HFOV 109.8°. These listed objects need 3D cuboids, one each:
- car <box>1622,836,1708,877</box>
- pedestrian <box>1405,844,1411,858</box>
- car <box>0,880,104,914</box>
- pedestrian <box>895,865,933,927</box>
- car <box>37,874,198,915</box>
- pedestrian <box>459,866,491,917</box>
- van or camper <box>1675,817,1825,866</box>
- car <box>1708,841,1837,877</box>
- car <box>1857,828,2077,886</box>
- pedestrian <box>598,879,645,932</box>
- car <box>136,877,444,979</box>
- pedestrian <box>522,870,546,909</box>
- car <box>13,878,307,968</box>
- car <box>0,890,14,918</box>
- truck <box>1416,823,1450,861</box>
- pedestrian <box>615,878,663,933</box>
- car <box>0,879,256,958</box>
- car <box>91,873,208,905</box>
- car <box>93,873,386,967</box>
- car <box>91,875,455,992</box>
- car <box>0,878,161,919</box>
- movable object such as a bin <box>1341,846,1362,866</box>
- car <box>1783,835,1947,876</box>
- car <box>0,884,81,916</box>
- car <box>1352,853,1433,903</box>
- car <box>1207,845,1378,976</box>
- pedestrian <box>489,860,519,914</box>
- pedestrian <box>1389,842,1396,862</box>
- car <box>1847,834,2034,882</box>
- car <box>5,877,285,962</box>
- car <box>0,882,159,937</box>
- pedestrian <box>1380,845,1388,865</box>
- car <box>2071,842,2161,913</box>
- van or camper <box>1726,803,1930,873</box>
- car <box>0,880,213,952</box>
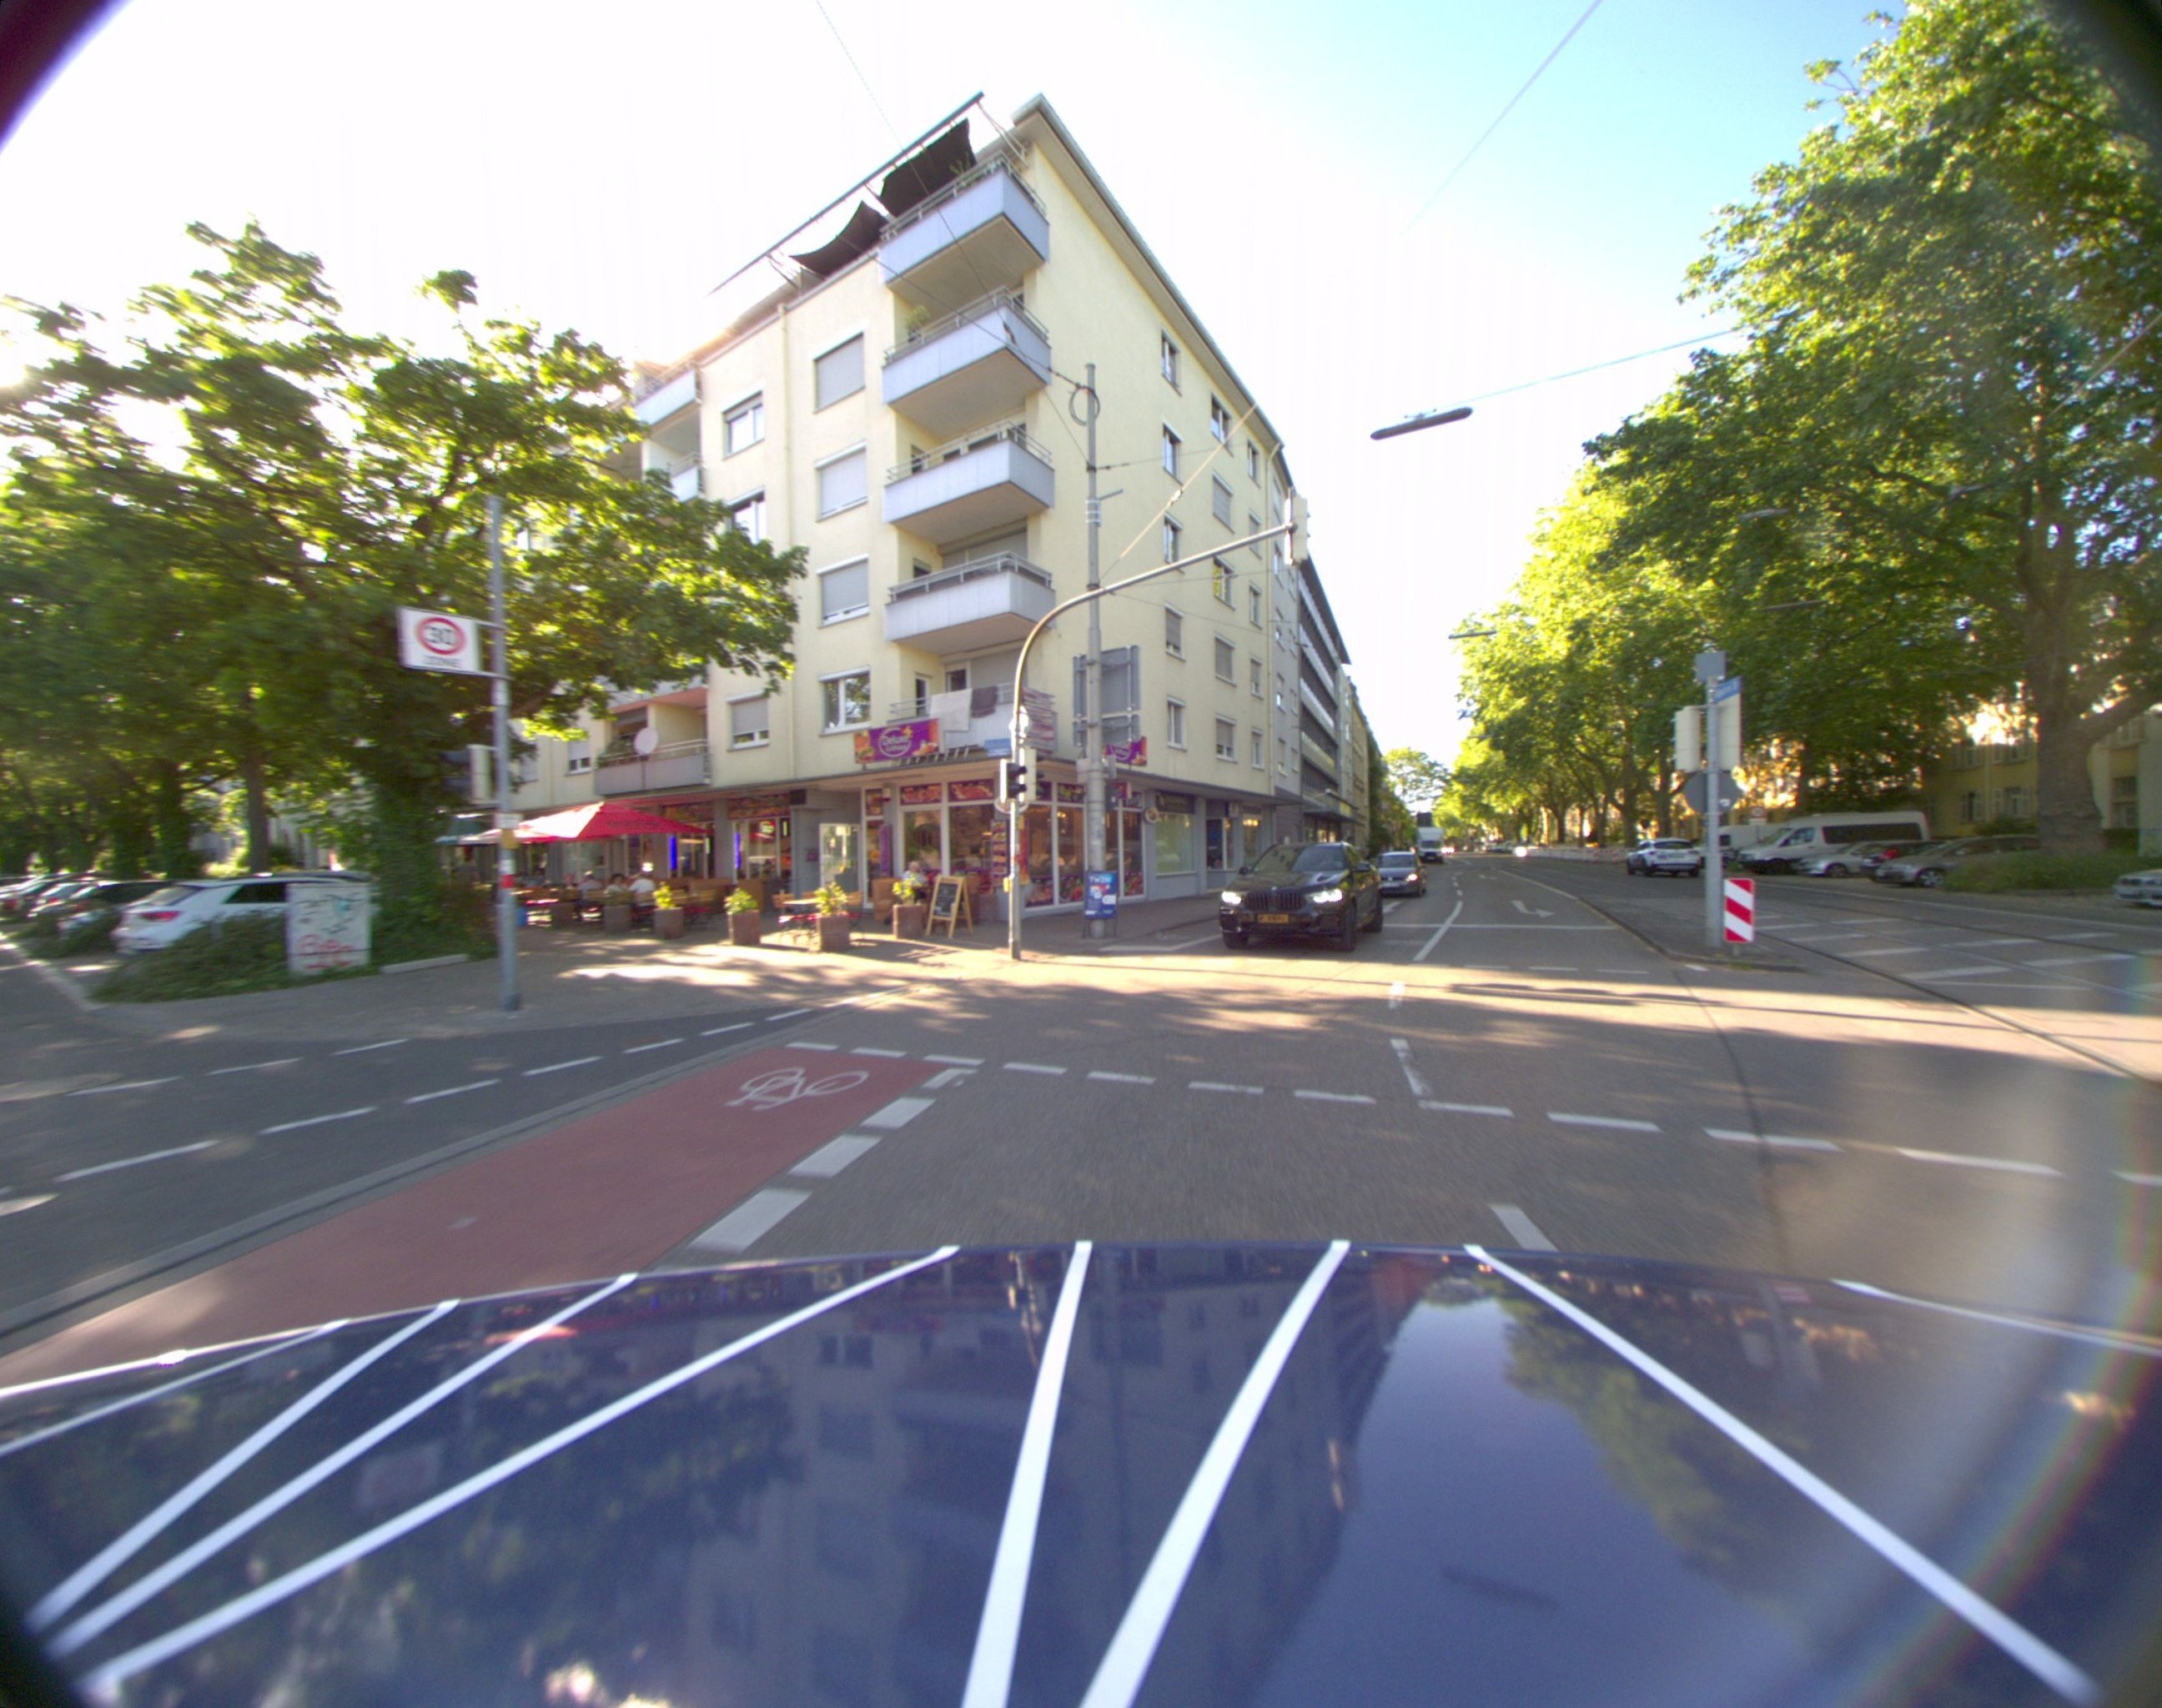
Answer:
[{"bbox_3d":[25.300,0.087,33.090,1.995,1.622,4.638,-1,0,25],"label":"car"},{"bbox_3d":[33.931,-0.321,78.793,0.540,1.437,0.631,-1,1,27],"label":"pedestrian"},{"bbox_3d":[-50.596,2.067,36.741,1.712,1.471,3.878,-1,0,30],"label":"car"},{"bbox_3d":[-3.686,0.917,16.800,0.492,1.334,0.608,-1,1,33],"label":"pedestrian"},{"bbox_3d":[-39.587,1.621,31.332,1.712,1.471,3.878,-1,0,30],"label":"car"},{"bbox_3d":[-21.019,1.293,26.349,0.537,1.698,0.724,-1,0,38],"label":"pedestrian"},{"bbox_3d":[36.435,-0.651,41.654,5.753,2.371,2.160,-3,0,26],"label":"van or camper"},{"bbox_3d":[35.179,0.247,38.816,4.532,1.623,1.696,-3,0,28],"label":"car"},{"bbox_3d":[27.544,0.111,23.831,4.073,1.610,1.847,-3,0,28],"label":"car"},{"bbox_3d":[-10.921,1.213,18.052,0.738,1.211,0.662,-1,0,32],"label":"pedestrian"},{"bbox_3d":[-15.486,1.336,15.115,1.712,1.608,3.912,-1,0,30],"label":"car"},{"bbox_3d":[-19.611,1.271,27.225,0.672,1.352,0.572,-1,0,45],"label":"pedestrian"},{"bbox_3d":[-20.126,1.402,16.802,1.712,1.608,3.878,-1,0,30],"label":"car"},{"bbox_3d":[-58.996,2.716,39.517,1.712,1.471,3.878,-1,0,30],"label":"car"},{"bbox_3d":[30.412,-1.048,65.807,2.340,3.095,5.220,-3,0,22],"label":"truck"},{"bbox_3d":[-10.160,1.166,17.473,0.738,1.211,0.662,-1,0,32],"label":"pedestrian"},{"bbox_3d":[-23.728,1.503,19.009,1.712,1.608,3.878,-1,0,30],"label":"car"},{"bbox_3d":[-52.075,1.902,42.540,1.712,1.580,3.878,-1,0,30],"label":"car"},{"bbox_3d":[-17.719,1.290,16.212,1.712,1.608,3.878,-1,0,30],"label":"car"},{"bbox_3d":[-13.801,1.227,13.281,1.705,1.572,4.043,-1,0,30],"label":"car"},{"bbox_3d":[-41.999,1.812,31.999,1.712,1.471,3.878,-1,0,30],"label":"car"},{"bbox_3d":[19.393,0.147,54.439,1.201,1.402,1.374,-1,0,27],"label":"movable object such as a bin"},{"bbox_3d":[31.469,0.066,30.671,4.269,1.438,1.696,-3,0,28],"label":"car"},{"bbox_3d":[-54.346,2.364,38.715,1.712,1.471,3.878,-1,0,30],"label":"car"},{"bbox_3d":[10.255,0.746,24.879,1.927,1.397,3.947,-3,0,29],"label":"car"},{"bbox_3d":[3.788,0.789,12.926,1.927,1.742,4.691,-3,0,26],"label":"car"},{"bbox_3d":[-19.655,1.115,25.882,0.537,1.800,0.675,-1,0,38],"label":"pedestrian"},{"bbox_3d":[26.797,-0.153,65.364,0.540,1.662,0.631,-1,1,27],"label":"pedestrian"},{"bbox_3d":[29.147,0.148,25.938,3.854,1.438,1.696,-3,0,28],"label":"car"},{"bbox_3d":[-21.646,1.430,17.762,1.712,1.608,3.878,-1,0,30],"label":"car"},{"bbox_3d":[-32.055,1.706,23.724,1.712,1.471,3.878,-1,0,30],"label":"car"},{"bbox_3d":[26.980,0.104,67.610,0.540,1.712,0.631,-1,1,27],"label":"pedestrian"},{"bbox_3d":[23.850,0.414,15.471,4.073,1.360,1.847,-3,0,28],"label":"car"},{"bbox_3d":[32.395,-0.648,33.246,5.921,2.633,2.160,-3,0,26],"label":"van or camper"},{"bbox_3d":[-25.923,1.561,19.909,1.712,1.608,3.878,-1,0,30],"label":"car"}]
